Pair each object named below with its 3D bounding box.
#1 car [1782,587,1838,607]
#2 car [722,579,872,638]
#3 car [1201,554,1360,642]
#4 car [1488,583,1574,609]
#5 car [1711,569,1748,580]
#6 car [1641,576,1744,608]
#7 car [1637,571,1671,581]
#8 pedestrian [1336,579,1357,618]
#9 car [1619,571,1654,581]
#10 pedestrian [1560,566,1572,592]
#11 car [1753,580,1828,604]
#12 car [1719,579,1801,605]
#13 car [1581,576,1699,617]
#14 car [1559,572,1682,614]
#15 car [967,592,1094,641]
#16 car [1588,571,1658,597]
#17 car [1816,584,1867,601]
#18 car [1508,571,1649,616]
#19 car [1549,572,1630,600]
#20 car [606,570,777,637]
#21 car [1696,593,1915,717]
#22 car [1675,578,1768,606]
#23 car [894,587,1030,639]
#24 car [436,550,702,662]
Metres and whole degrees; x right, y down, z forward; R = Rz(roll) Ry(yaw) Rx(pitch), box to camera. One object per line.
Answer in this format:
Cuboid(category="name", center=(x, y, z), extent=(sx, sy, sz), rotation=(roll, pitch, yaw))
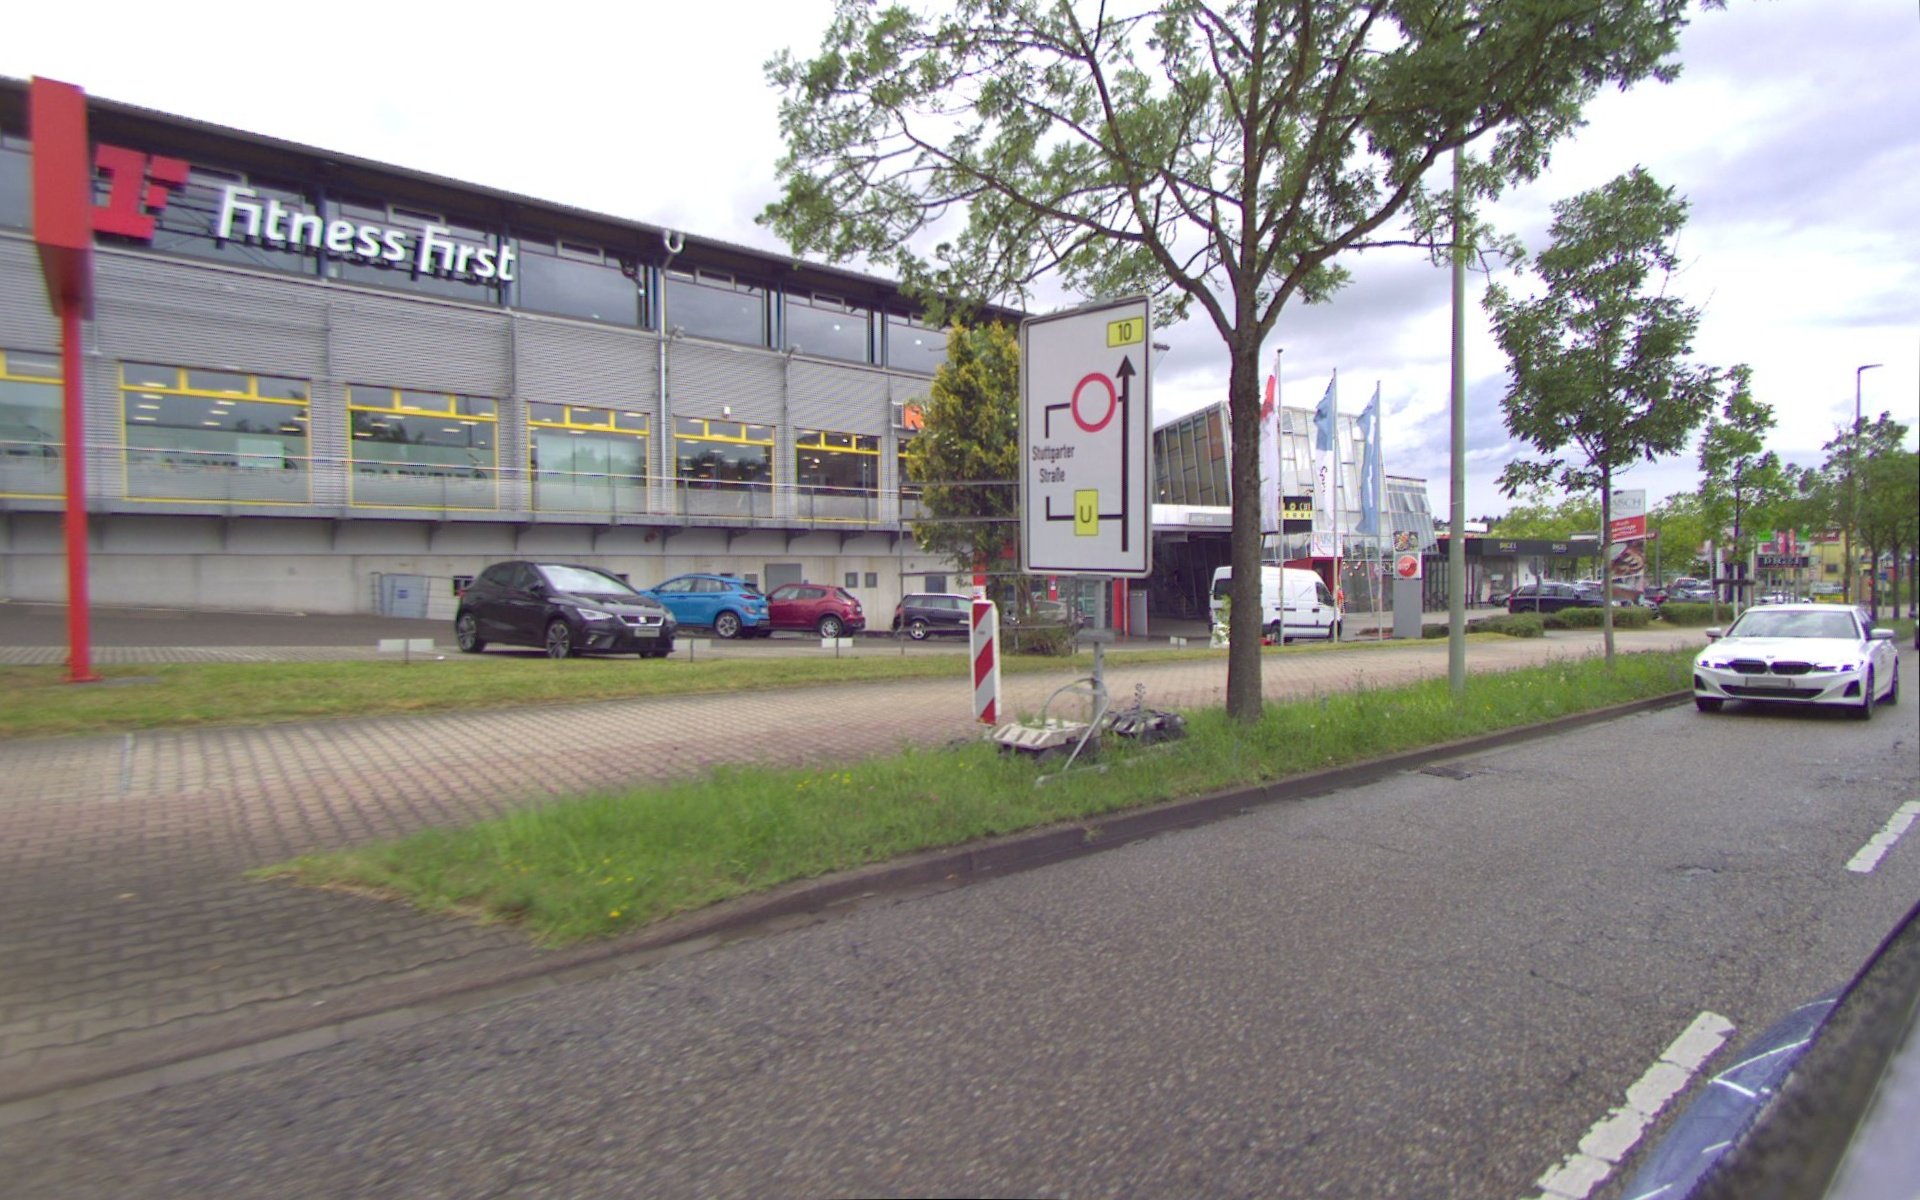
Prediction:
Cuboid(category="car", center=(70.666, -0.252, 84.166), extent=(1.714, 1.599, 3.865), rotation=(2, 0, 8))
Cuboid(category="car", center=(-4.567, 0.250, 28.643), extent=(3.810, 1.521, 1.735), rotation=(1, -1, 9))
Cuboid(category="car", center=(10.386, 0.032, 32.568), extent=(5.578, 2.570, 2.231), rotation=(2, -3, -40))
Cuboid(category="car", center=(36.903, -0.281, 65.526), extent=(4.421, 1.412, 1.798), rotation=(2, 4, 7))
Cuboid(category="car", center=(110.723, -3.633, 145.699), extent=(1.769, 1.529, 3.993), rotation=(0, 1, -41))
Cuboid(category="car", center=(39.564, -0.472, 54.742), extent=(1.831, 1.490, 4.177), rotation=(0, 4, -42))
Cuboid(category="car", center=(110.521, -3.852, 161.229), extent=(1.792, 1.601, 4.217), rotation=(0, 1, -41))
Cuboid(category="pedestrian", center=(18.116, -0.086, 47.480), extent=(0.682, 1.781, 0.739), rotation=(0, 1, 42))
Cuboid(category="car", center=(104.362, -3.716, 156.136), extent=(1.792, 1.601, 4.217), rotation=(0, 1, -41))
Cuboid(category="pedestrian", center=(47.475, -1.646, 79.309), extent=(0.646, 2.039, 0.612), rotation=(-1, -1, -42))
Cuboid(category="car", center=(65.244, -0.651, 79.572), extent=(4.235, 1.599, 1.743), rotation=(2, 3, 3))
Cuboid(category="car", center=(56.584, -0.598, 71.641), extent=(4.110, 1.599, 1.739), rotation=(3, 3, 10))
Cuboid(category="car", center=(31.512, -0.217, 46.999), extent=(1.767, 1.620, 4.181), rotation=(0, 4, -38))
Cuboid(category="car", center=(29.315, -0.340, 45.019), extent=(1.795, 1.620, 4.181), rotation=(0, 4, -38))
Cuboid(category="car", center=(2.384, 0.560, 34.656), extent=(4.183, 1.489, 1.782), rotation=(2, -1, 4))
Cuboid(category="car", center=(51.594, -1.260, 78.828), extent=(4.042, 1.766, 1.799), rotation=(2, 4, 5))
Cuboid(category="car", center=(95.840, -0.821, 110.056), extent=(3.977, 1.835, 1.745), rotation=(2, 1, 37))
Cuboid(category="car", center=(26.093, -0.307, 42.862), extent=(1.888, 1.620, 4.677), rotation=(0, 3, -31))
Cuboid(category="car", center=(44.730, -1.009, 72.027), extent=(4.426, 1.701, 1.796), rotation=(3, 4, 11))
Cuboid(category="car", center=(-6.854, 0.088, 26.023), extent=(3.844, 1.579, 1.736), rotation=(1, -1, 7))
Cuboid(category="car", center=(11.974, 0.661, 14.224), extent=(4.465, 1.459, 1.805), rotation=(0, -1, -43))
Cuboid(category="car", center=(46.966, -0.537, 62.536), extent=(4.119, 1.491, 1.785), rotation=(3, 3, 12))
Cuboid(category="car", center=(0.100, 0.417, 32.318), extent=(4.185, 1.489, 1.737), rotation=(2, -1, 6))
Cuboid(category="car", center=(-5.870, 0.071, 15.029), extent=(4.079, 1.457, 1.773), rotation=(1, -1, 37))
